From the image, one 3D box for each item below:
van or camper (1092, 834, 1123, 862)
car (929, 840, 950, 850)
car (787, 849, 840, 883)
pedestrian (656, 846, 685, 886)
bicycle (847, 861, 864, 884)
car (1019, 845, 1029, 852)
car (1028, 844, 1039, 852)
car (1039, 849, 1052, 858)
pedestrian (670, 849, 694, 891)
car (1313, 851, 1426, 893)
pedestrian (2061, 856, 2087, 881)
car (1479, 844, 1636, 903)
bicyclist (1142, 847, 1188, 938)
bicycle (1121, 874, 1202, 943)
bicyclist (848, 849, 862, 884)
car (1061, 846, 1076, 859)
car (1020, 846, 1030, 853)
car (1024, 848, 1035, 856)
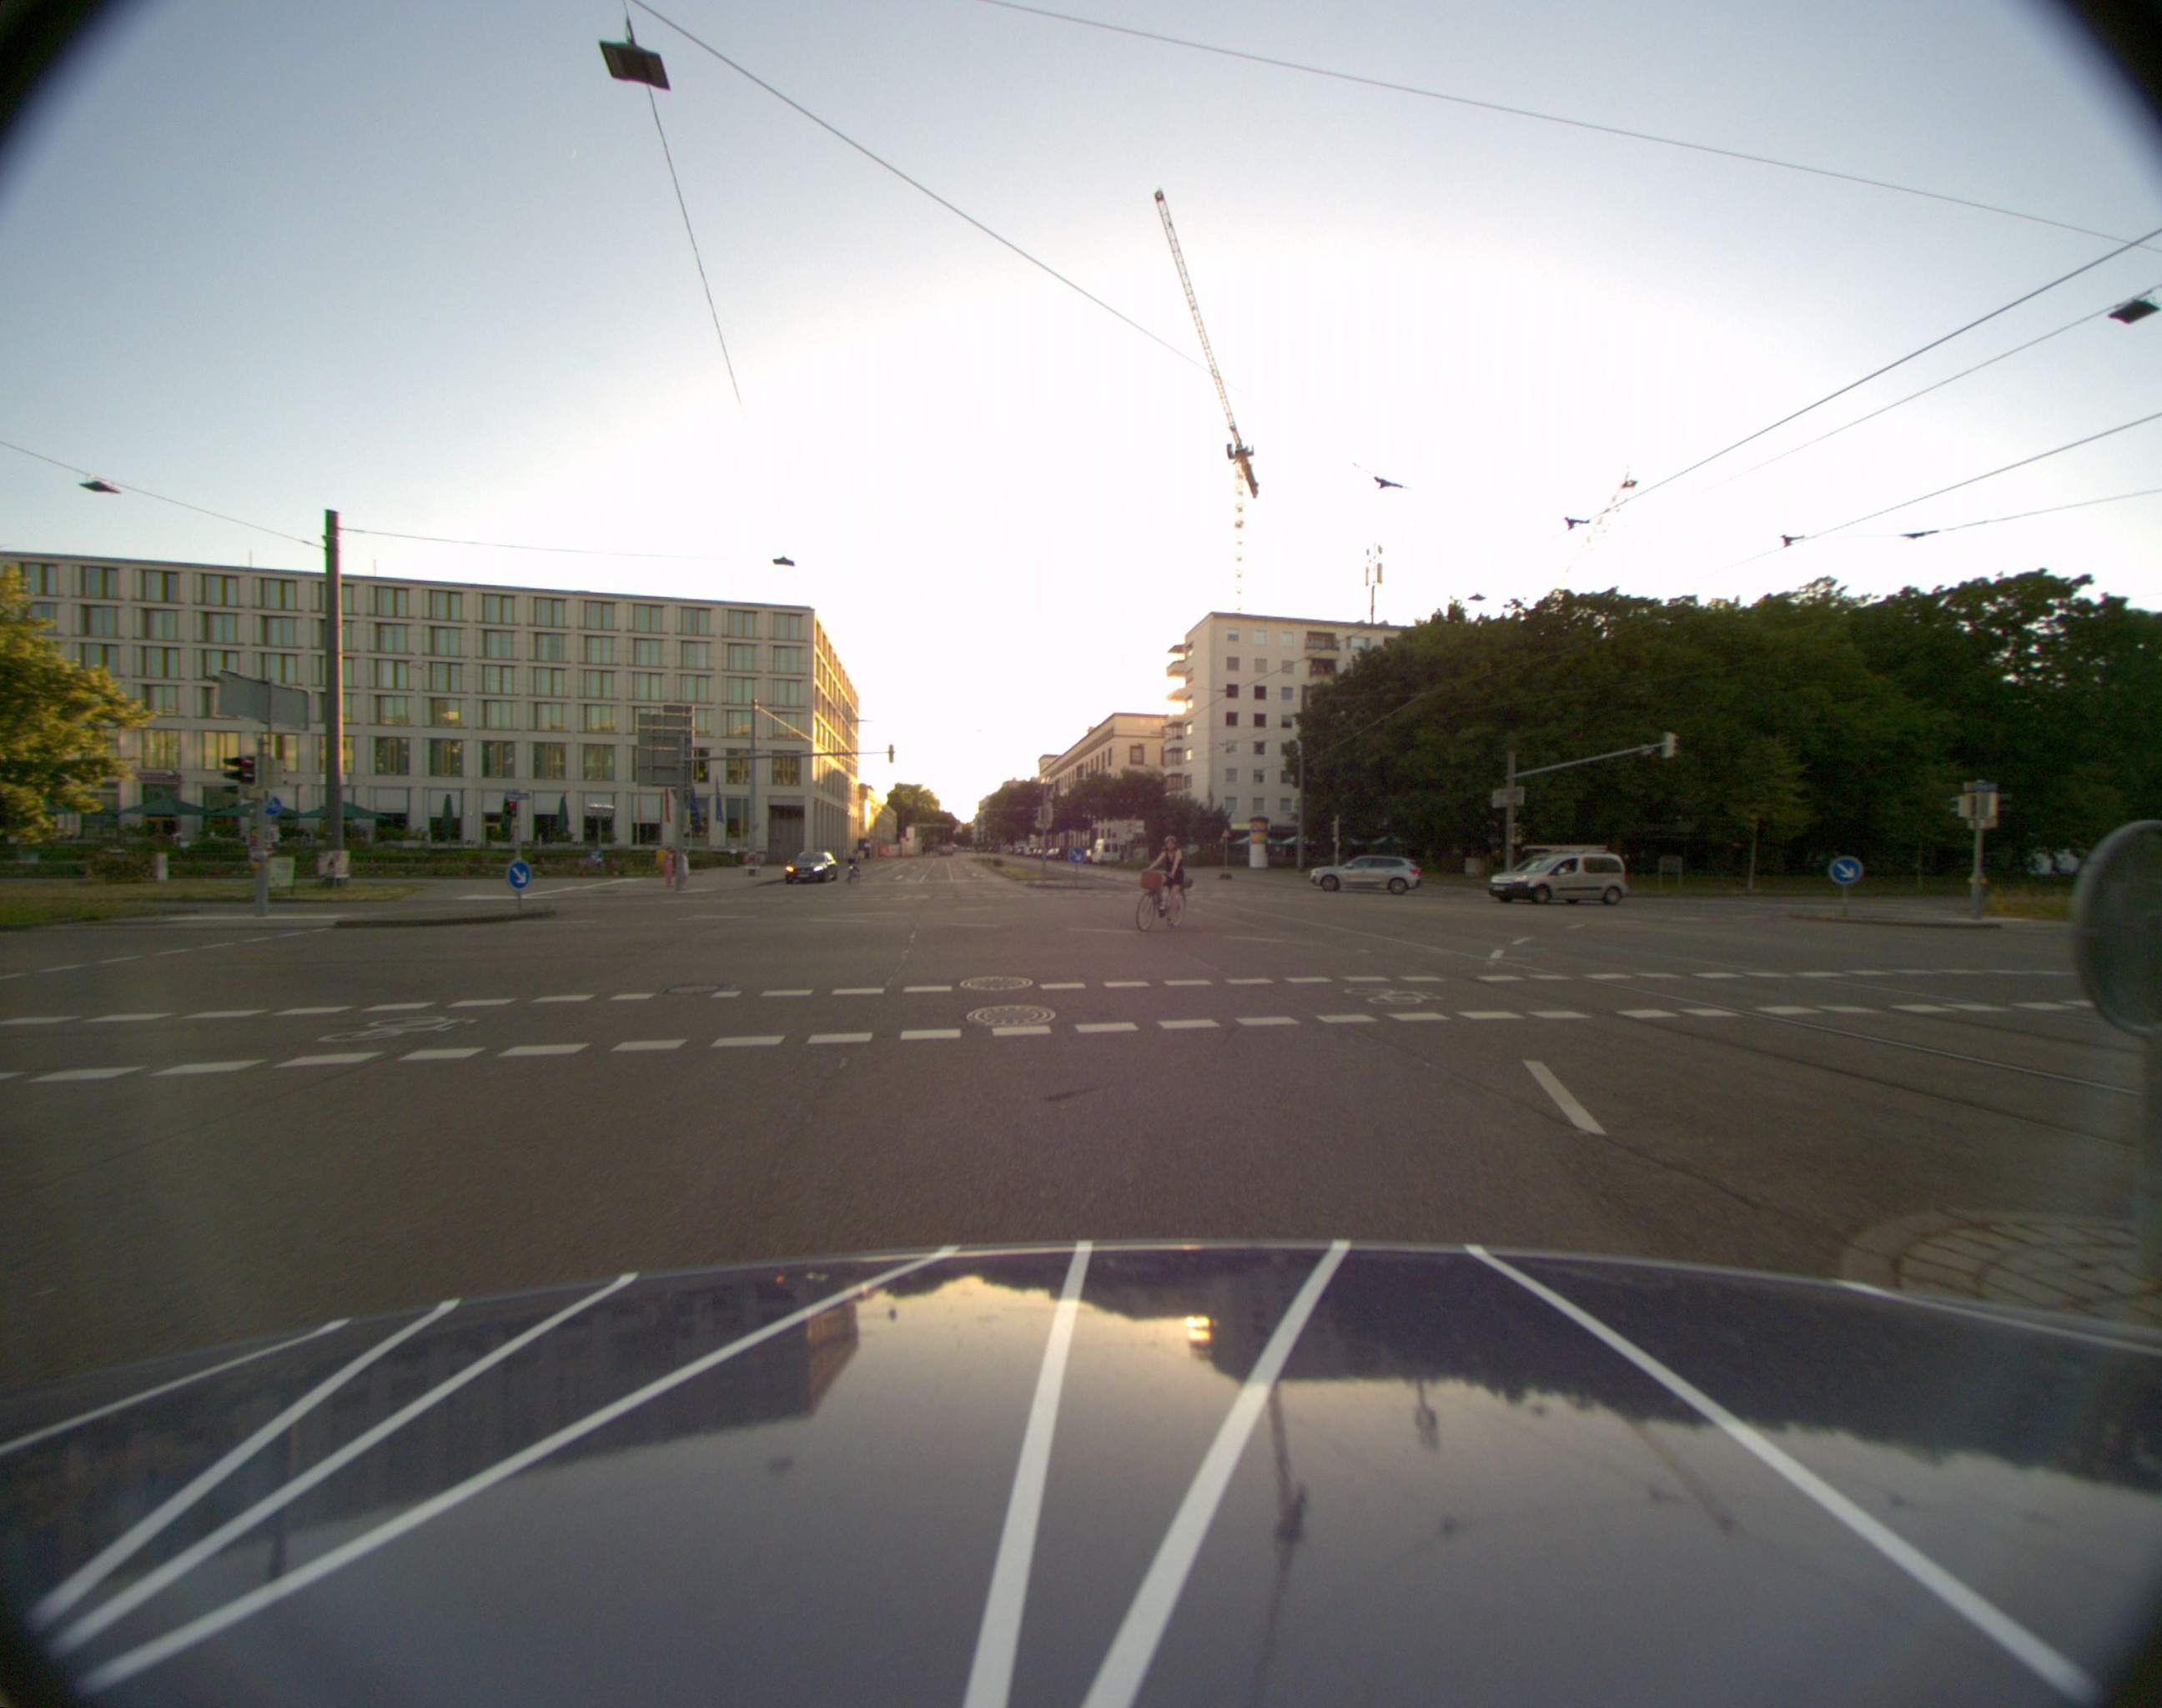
[{"bbox_3d":[2.504,-0.585,73.527,2.112,2.666,4.706,0,1,-8],"label":"van or camper"},{"bbox_3d":[-26.231,-1.662,141.090,3.810,1.639,1.861,0,1,-11],"label":"car"},{"bbox_3d":[-13.346,0.540,38.212,1.817,1.514,4.805,-1,1,-11],"label":"car"},{"bbox_3d":[-16.850,0.499,31.198,0.737,1.617,0.727,1,1,22],"label":"pedestrian"},{"bbox_3d":[-10.646,0.852,35.912,0.540,1.045,1.759,0,1,-10],"label":"bicycle"},{"bbox_3d":[-11.888,-1.122,158.266,1.723,1.422,3.807,0,1,-7],"label":"car"},{"bbox_3d":[-8.612,-1.094,137.873,1.723,1.478,3.807,1,1,-6],"label":"car"},{"bbox_3d":[-5.575,-0.075,119.029,1.723,1.422,3.807,0,1,-7],"label":"car"},{"bbox_3d":[-15.835,0.623,30.148,0.626,1.617,0.538,1,1,7],"label":"pedestrian"},{"bbox_3d":[12.278,0.740,32.512,4.335,1.654,1.890,1,1,20],"label":"car"},{"bbox_3d":[58.601,0.847,44.849,0.646,1.488,0.677,0,1,-9],"label":"pedestrian"},{"bbox_3d":[16.078,0.634,25.702,4.466,1.900,1.803,0,1,-12],"label":"car"},{"bbox_3d":[1.554,0.694,14.026,0.608,1.626,0.598,1,1,33],"label":"bicyclist"},{"bbox_3d":[1.519,0.951,13.968,0.608,1.108,2.090,1,1,32],"label":"bicycle"},{"bbox_3d":[-10.629,0.566,35.763,0.541,1.626,0.596,0,1,-10],"label":"bicyclist"},{"bbox_3d":[-1.640,-0.207,98.570,1.723,1.695,3.807,0,1,-6],"label":"car"},{"bbox_3d":[-11.243,-0.893,152.211,1.723,1.478,3.807,1,1,-6],"label":"car"},{"bbox_3d":[-9.367,-0.353,137.983,1.723,1.422,3.807,0,1,-7],"label":"car"}]
